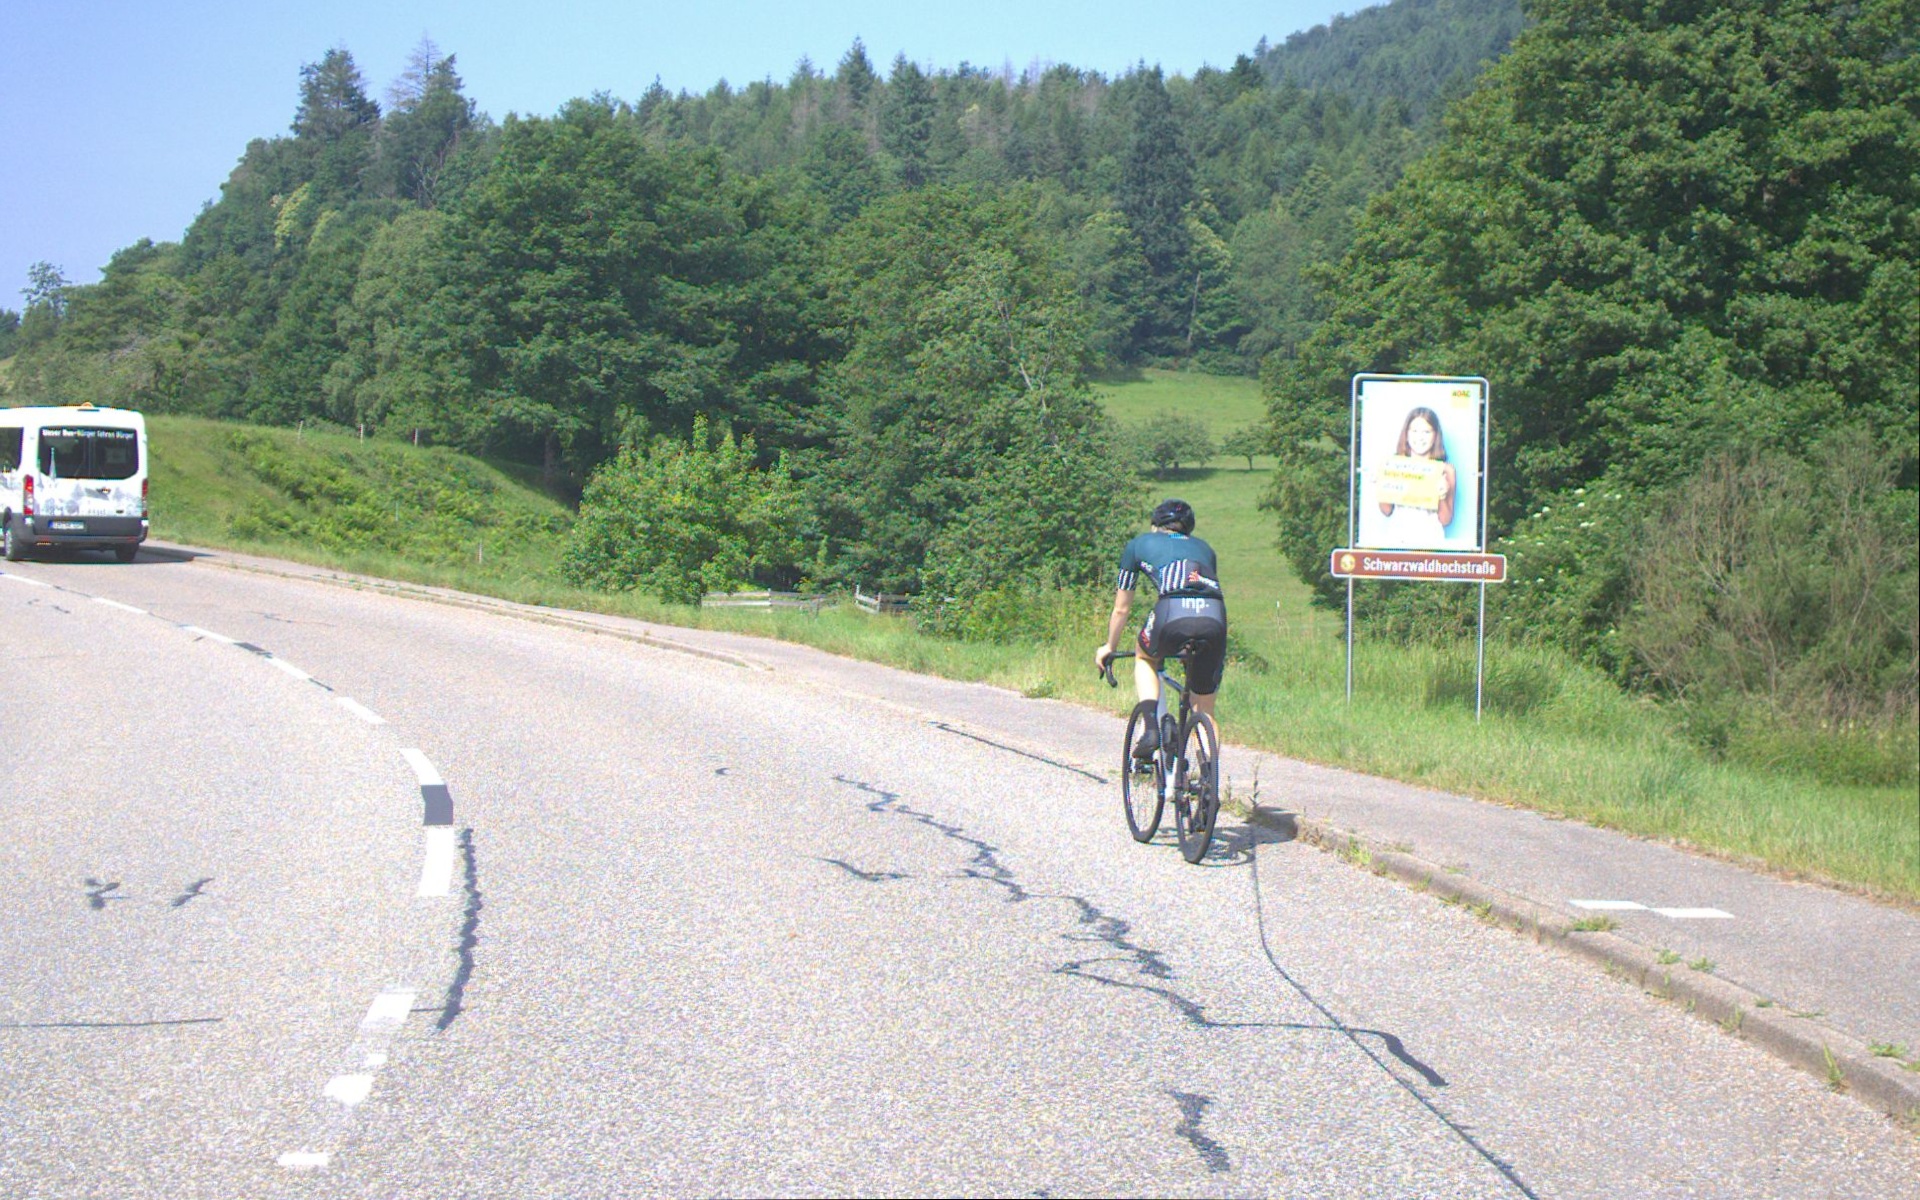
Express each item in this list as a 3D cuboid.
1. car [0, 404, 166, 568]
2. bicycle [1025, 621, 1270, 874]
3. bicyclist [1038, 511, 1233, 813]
[{"bbox_3d":[-14.777,-1.886,55.739,2.222,2.516,4.985,-2,3,-31],"label":"car"},{"bbox_3d":[0.855,0.661,16.255,0.579,1.031,1.991,-2,2,-14],"label":"bicycle"},{"bbox_3d":[0.806,0.263,16.055,0.579,1.338,1.145,-2,2,-14],"label":"bicyclist"}]
